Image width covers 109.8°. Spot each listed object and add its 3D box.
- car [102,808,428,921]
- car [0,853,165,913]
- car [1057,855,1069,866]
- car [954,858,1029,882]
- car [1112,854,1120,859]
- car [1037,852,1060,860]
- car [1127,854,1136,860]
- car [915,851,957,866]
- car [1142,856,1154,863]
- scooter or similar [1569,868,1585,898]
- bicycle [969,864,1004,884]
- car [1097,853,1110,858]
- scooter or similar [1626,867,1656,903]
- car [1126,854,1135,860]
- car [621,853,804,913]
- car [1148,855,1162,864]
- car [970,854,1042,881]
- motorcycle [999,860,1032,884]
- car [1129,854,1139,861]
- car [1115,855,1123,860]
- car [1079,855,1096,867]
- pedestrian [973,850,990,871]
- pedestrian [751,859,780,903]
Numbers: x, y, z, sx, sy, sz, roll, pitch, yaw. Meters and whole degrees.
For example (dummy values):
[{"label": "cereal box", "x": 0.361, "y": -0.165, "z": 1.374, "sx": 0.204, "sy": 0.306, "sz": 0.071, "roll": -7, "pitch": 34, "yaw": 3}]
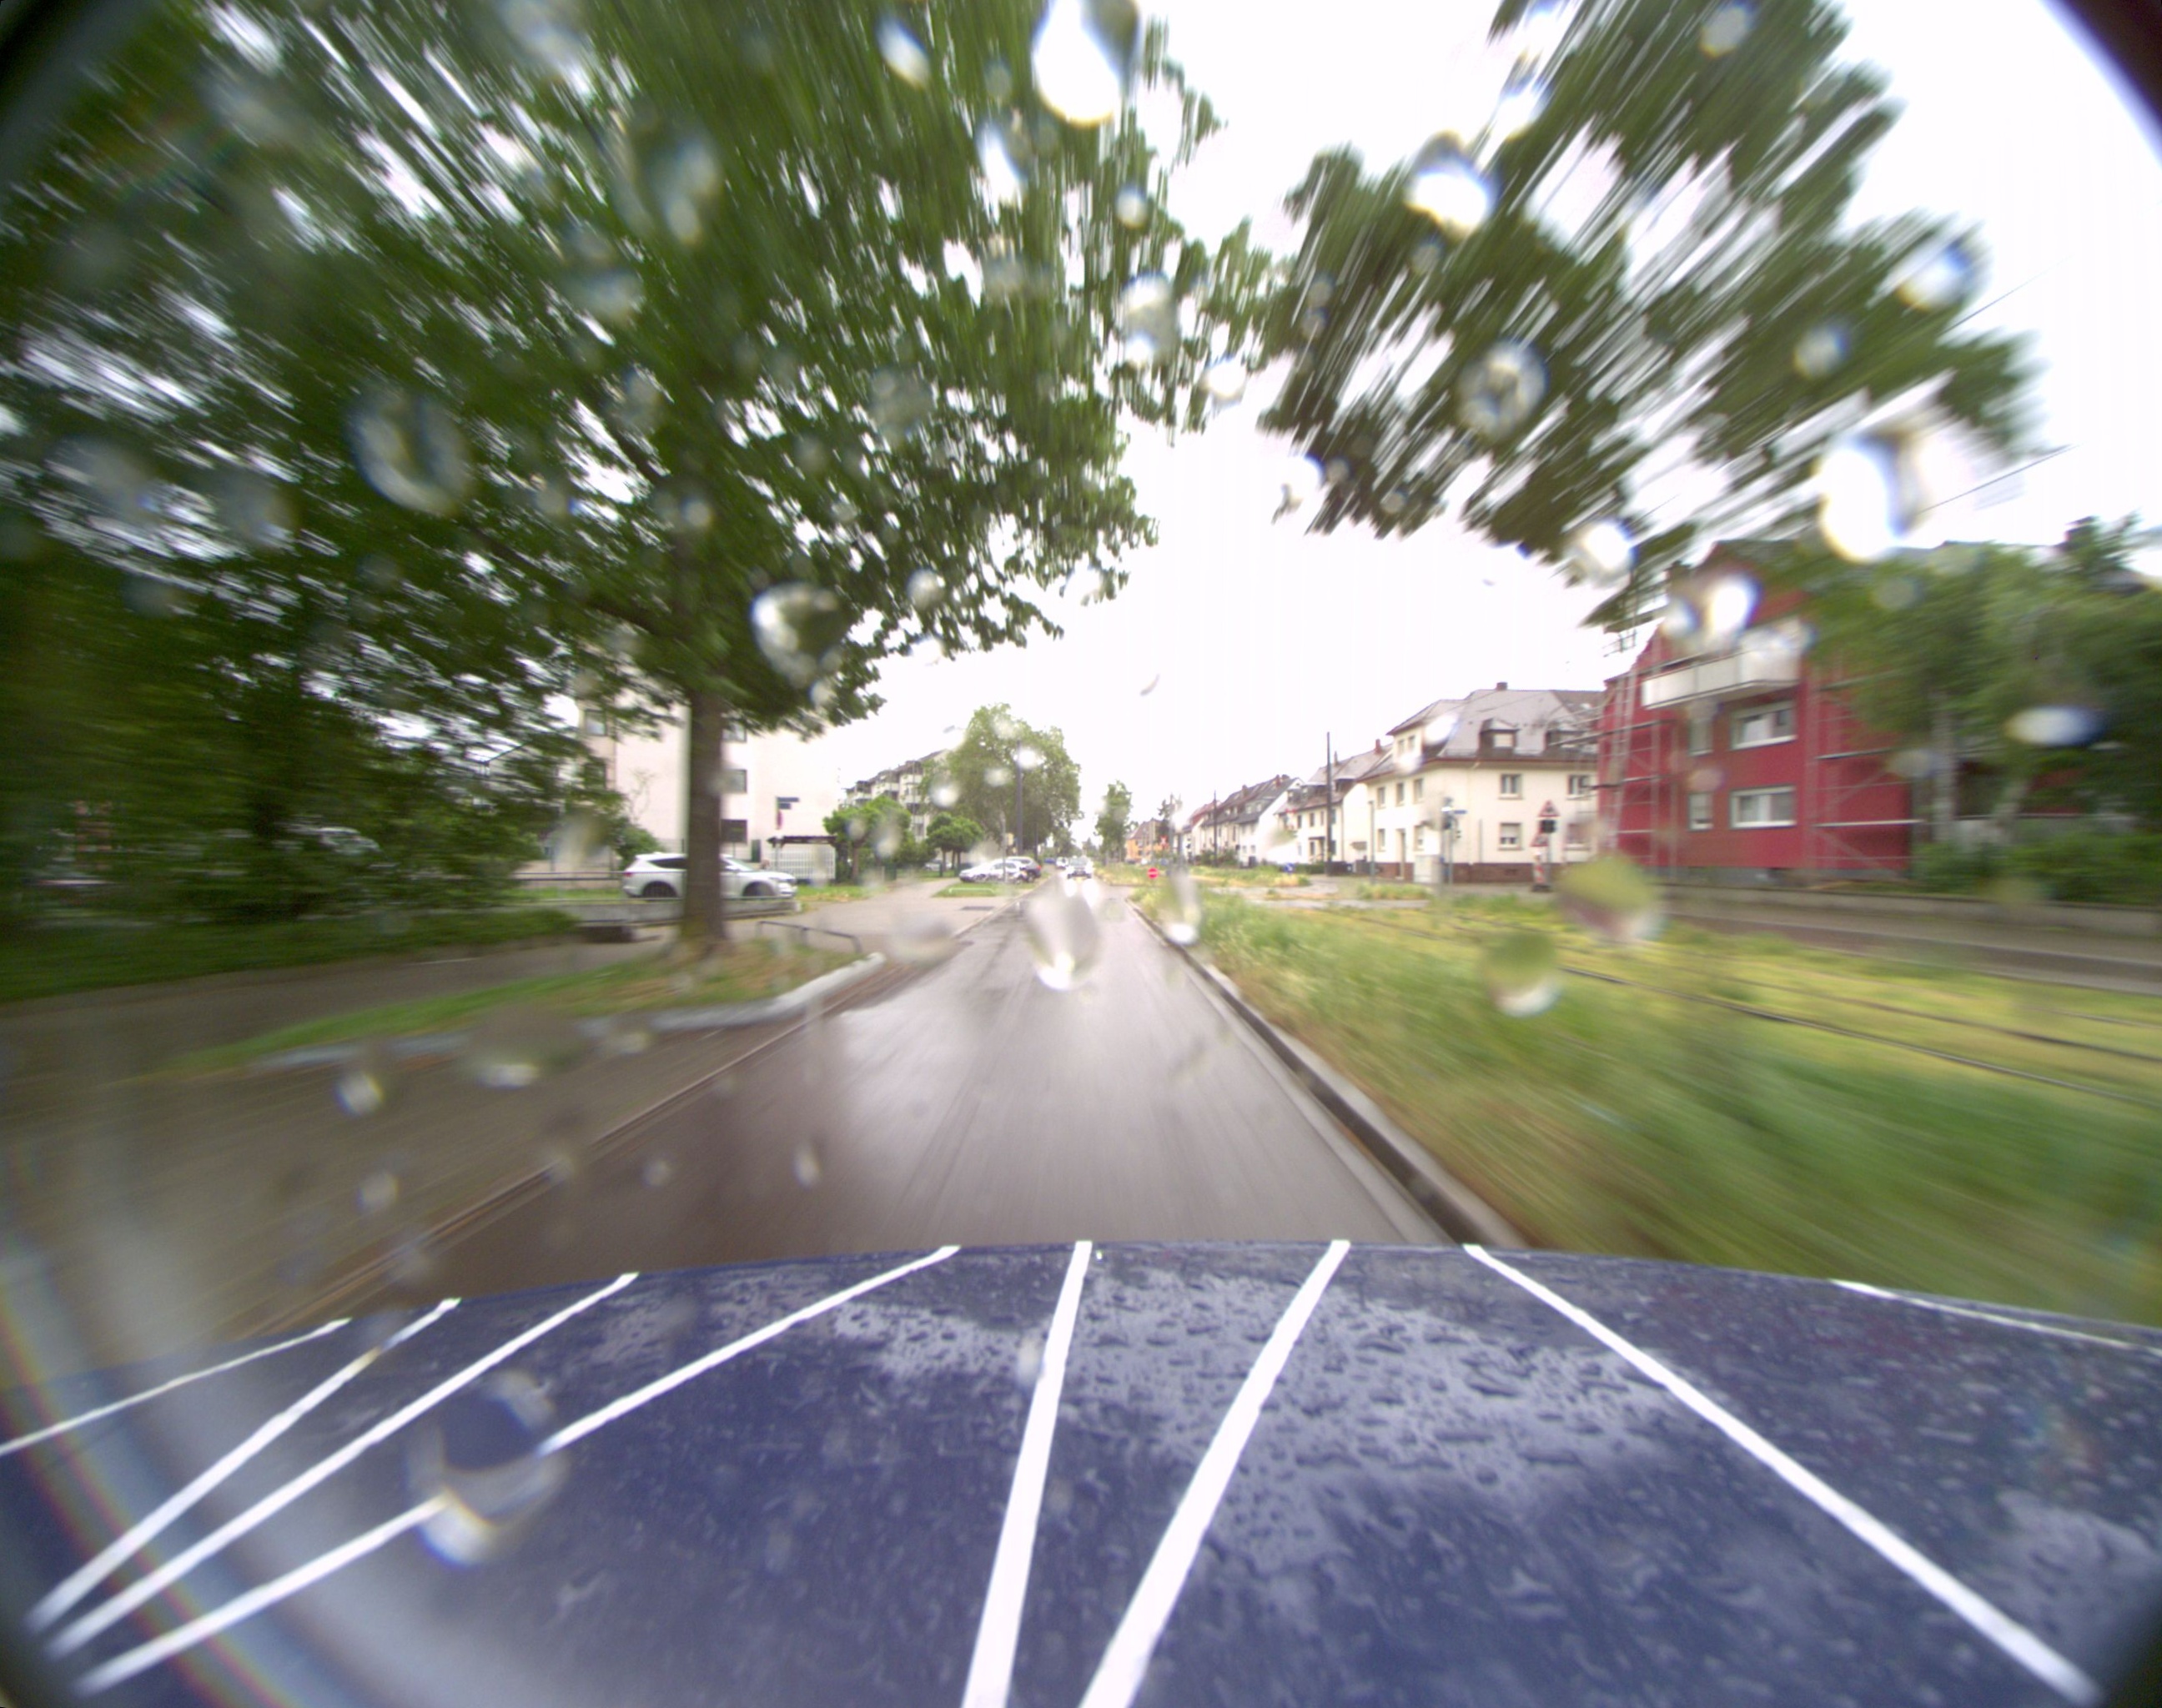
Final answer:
[{"label": "car", "x": -22.753, "y": 0.260, "z": 21.540, "sx": 6.079, "sy": 2.946, "sz": 2.127, "roll": 0, "pitch": 1, "yaw": -14}, {"label": "car", "x": -27.906, "y": 0.725, "z": 20.109, "sx": 4.419, "sy": 1.517, "sz": 1.905, "roll": 0, "pitch": 0, "yaw": -12}, {"label": "car", "x": -2.528, "y": 0.885, "z": 106.663, "sx": 1.562, "sy": 1.510, "sz": 3.999, "roll": 1, "pitch": 0, "yaw": -3}, {"label": "car", "x": -5.395, "y": 0.961, "z": 46.032, "sx": 4.133, "sy": 1.414, "sz": 1.734, "roll": 1, "pitch": 0, "yaw": -36}, {"label": "car", "x": 10.399, "y": 0.674, "z": 225.262, "sx": 2.097, "sy": 1.423, "sz": 4.076, "roll": 0, "pitch": 0, "yaw": -3}, {"label": "car", "x": -6.320, "y": 0.431, "z": 147.651, "sx": 4.007, "sy": 1.518, "sz": 1.715, "roll": 0, "pitch": 0, "yaw": -34}, {"label": "car", "x": 12.208, "y": 0.755, "z": 183.431, "sx": 1.882, "sy": 1.520, "sz": 3.999, "roll": 0, "pitch": 0, "yaw": -2}, {"label": "car", "x": -16.078, "y": 0.489, "z": 84.578, "sx": 4.303, "sy": 1.671, "sz": 1.871, "roll": 0, "pitch": 1, "yaw": 1}, {"label": "car", "x": 13.267, "y": 1.098, "z": 151.064, "sx": 1.715, "sy": 1.432, "sz": 3.999, "roll": 1, "pitch": 0, "yaw": -3}, {"label": "scooter or similar", "x": 19.022, "y": 1.095, "z": 29.169, "sx": 0.440, "sy": 1.123, "sz": 1.285, "roll": 0, "pitch": 1, "yaw": 31}, {"label": "bicycle", "x": -5.320, "y": 1.098, "z": 42.778, "sx": 0.627, "sy": 1.095, "sz": 1.961, "roll": 1, "pitch": 0, "yaw": 44}, {"label": "car", "x": 7.146, "y": 0.503, "z": 243.385, "sx": 3.999, "sy": 1.637, "sz": 1.893, "roll": 1, "pitch": 0, "yaw": -5}, {"label": "scooter or similar", "x": 19.314, "y": 1.054, "z": 26.230, "sx": 0.394, "sy": 1.173, "sz": 1.284, "roll": 0, "pitch": 0, "yaw": 16}, {"label": "car", "x": 12.461, "y": 0.731, "z": 192.347, "sx": 1.998, "sy": 1.648, "sz": 4.000, "roll": -1, "pitch": 0, "yaw": 0}, {"label": "car", "x": -11.340, "y": 0.845, "z": 23.789, "sx": 4.821, "sy": 1.735, "sz": 1.997, "roll": 0, "pitch": 0, "yaw": -14}, {"label": "car", "x": 13.526, "y": 1.035, "z": 139.886, "sx": 1.892, "sy": 1.522, "sz": 4.755, "roll": 1, "pitch": 0, "yaw": -3}, {"label": "car", "x": -4.877, "y": 0.865, "z": 49.631, "sx": 4.358, "sy": 1.641, "sz": 1.853, "roll": 0, "pitch": 0, "yaw": -33}, {"label": "motorcycle", "x": -3.809, "y": 1.036, "z": 44.081, "sx": 1.783, "sy": 1.328, "sz": 0.687, "roll": 1, "pitch": 0, "yaw": -36}, {"label": "car", "x": 12.417, "y": 0.758, "z": 178.755, "sx": 1.912, "sy": 1.581, "sz": 3.999, "roll": 0, "pitch": 0, "yaw": -2}, {"label": "car", "x": 10.833, "y": 0.895, "z": 216.555, "sx": 1.886, "sy": 1.423, "sz": 4.076, "roll": 0, "pitch": 0, "yaw": -3}, {"label": "car", "x": 0.774, "y": 0.868, "z": 95.316, "sx": 1.854, "sy": 1.500, "sz": 4.119, "roll": 1, "pitch": 0, "yaw": -3}, {"label": "pedestrian", "x": -8.655, "y": 0.584, "z": 66.395, "sx": 1.101, "sy": 1.803, "sz": 1.435, "roll": 0, "pitch": 0, "yaw": 10}, {"label": "pedestrian", "x": -11.474, "y": 0.986, "z": 27.679, "sx": 0.840, "sy": 1.561, "sz": 0.813, "roll": 0, "pitch": 1, "yaw": -14}]
